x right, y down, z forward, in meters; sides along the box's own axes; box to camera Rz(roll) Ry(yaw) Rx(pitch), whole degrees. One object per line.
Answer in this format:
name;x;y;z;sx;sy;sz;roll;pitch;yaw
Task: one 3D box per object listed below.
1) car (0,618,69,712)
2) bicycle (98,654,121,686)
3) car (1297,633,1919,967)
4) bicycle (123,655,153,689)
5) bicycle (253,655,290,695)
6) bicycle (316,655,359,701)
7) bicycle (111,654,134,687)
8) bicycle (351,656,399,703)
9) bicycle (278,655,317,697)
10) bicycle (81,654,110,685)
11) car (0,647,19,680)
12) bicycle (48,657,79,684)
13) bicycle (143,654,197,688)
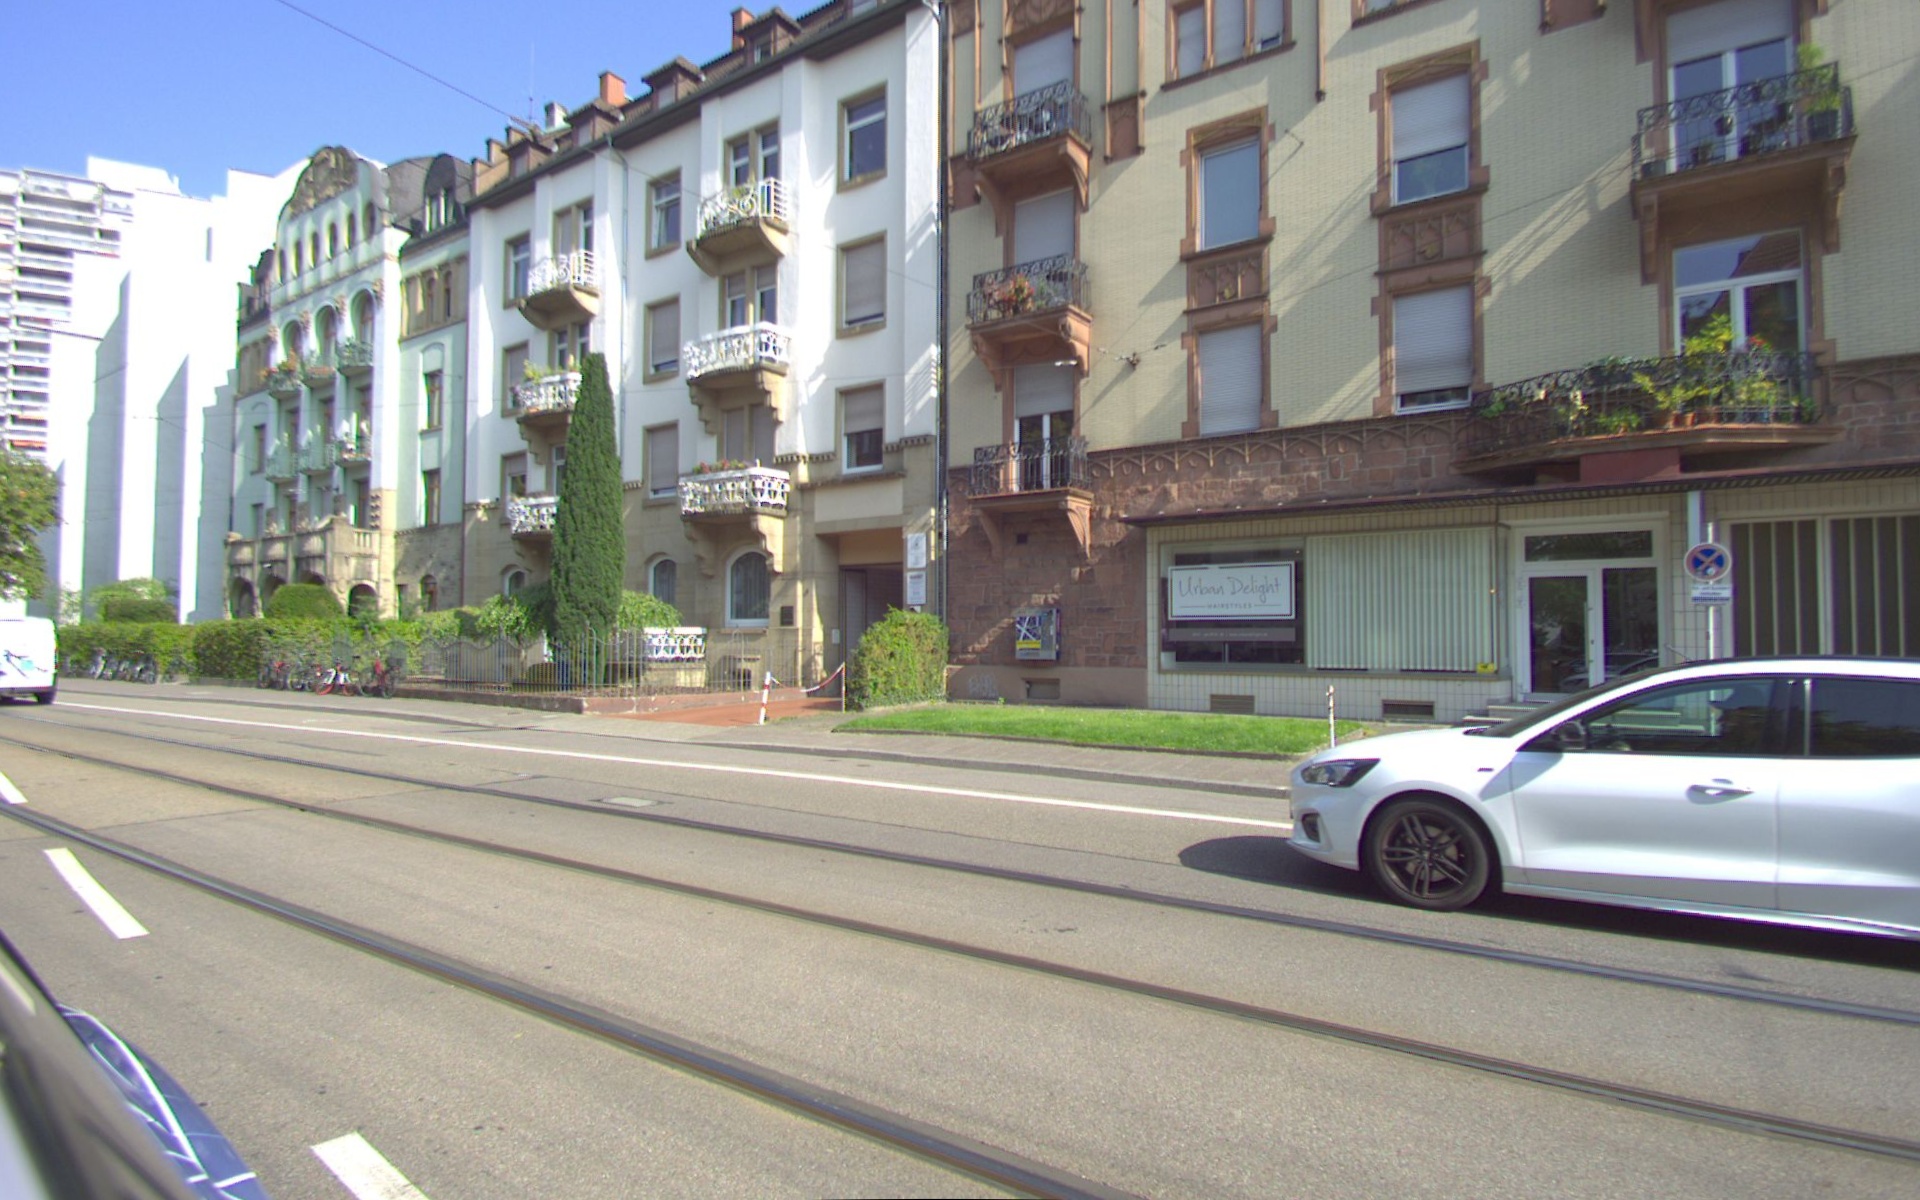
car;-22.729;1.478;23.323;4.843;2.029;1.978;-2;-3;32
bicycle;-29.625;2.429;35.238;1.677;1.096;0.419;-3;-4;44
car;4.373;0.968;5.495;4.530;1.466;1.857;-2;-6;32
bicycle;-27.267;2.372;33.551;1.675;1.096;0.420;-2;-4;40
bicycle;-19.010;2.061;27.932;1.352;1.096;0.367;-2;-4;35
bicycle;-15.460;1.920;25.126;1.352;1.096;0.367;-2;-4;35
bicycle;-28.883;2.422;34.890;1.677;1.096;0.419;-3;-4;44
bicycle;-13.970;1.880;24.167;1.484;1.096;0.367;-2;-4;35
bicycle;-17.602;1.999;26.864;1.352;1.096;0.367;-2;-4;35
bicycle;-31.187;2.487;36.504;1.674;1.096;0.420;-2;-4;38
car;-46.423;2.982;47.334;1.743;1.539;4.010;1;-3;-14
bicycle;-33.958;2.672;38.337;1.765;0.985;0.421;-2;-4;34
bicycle;-26.101;2.335;33.471;0.422;1.096;1.388;-1;-3;17
